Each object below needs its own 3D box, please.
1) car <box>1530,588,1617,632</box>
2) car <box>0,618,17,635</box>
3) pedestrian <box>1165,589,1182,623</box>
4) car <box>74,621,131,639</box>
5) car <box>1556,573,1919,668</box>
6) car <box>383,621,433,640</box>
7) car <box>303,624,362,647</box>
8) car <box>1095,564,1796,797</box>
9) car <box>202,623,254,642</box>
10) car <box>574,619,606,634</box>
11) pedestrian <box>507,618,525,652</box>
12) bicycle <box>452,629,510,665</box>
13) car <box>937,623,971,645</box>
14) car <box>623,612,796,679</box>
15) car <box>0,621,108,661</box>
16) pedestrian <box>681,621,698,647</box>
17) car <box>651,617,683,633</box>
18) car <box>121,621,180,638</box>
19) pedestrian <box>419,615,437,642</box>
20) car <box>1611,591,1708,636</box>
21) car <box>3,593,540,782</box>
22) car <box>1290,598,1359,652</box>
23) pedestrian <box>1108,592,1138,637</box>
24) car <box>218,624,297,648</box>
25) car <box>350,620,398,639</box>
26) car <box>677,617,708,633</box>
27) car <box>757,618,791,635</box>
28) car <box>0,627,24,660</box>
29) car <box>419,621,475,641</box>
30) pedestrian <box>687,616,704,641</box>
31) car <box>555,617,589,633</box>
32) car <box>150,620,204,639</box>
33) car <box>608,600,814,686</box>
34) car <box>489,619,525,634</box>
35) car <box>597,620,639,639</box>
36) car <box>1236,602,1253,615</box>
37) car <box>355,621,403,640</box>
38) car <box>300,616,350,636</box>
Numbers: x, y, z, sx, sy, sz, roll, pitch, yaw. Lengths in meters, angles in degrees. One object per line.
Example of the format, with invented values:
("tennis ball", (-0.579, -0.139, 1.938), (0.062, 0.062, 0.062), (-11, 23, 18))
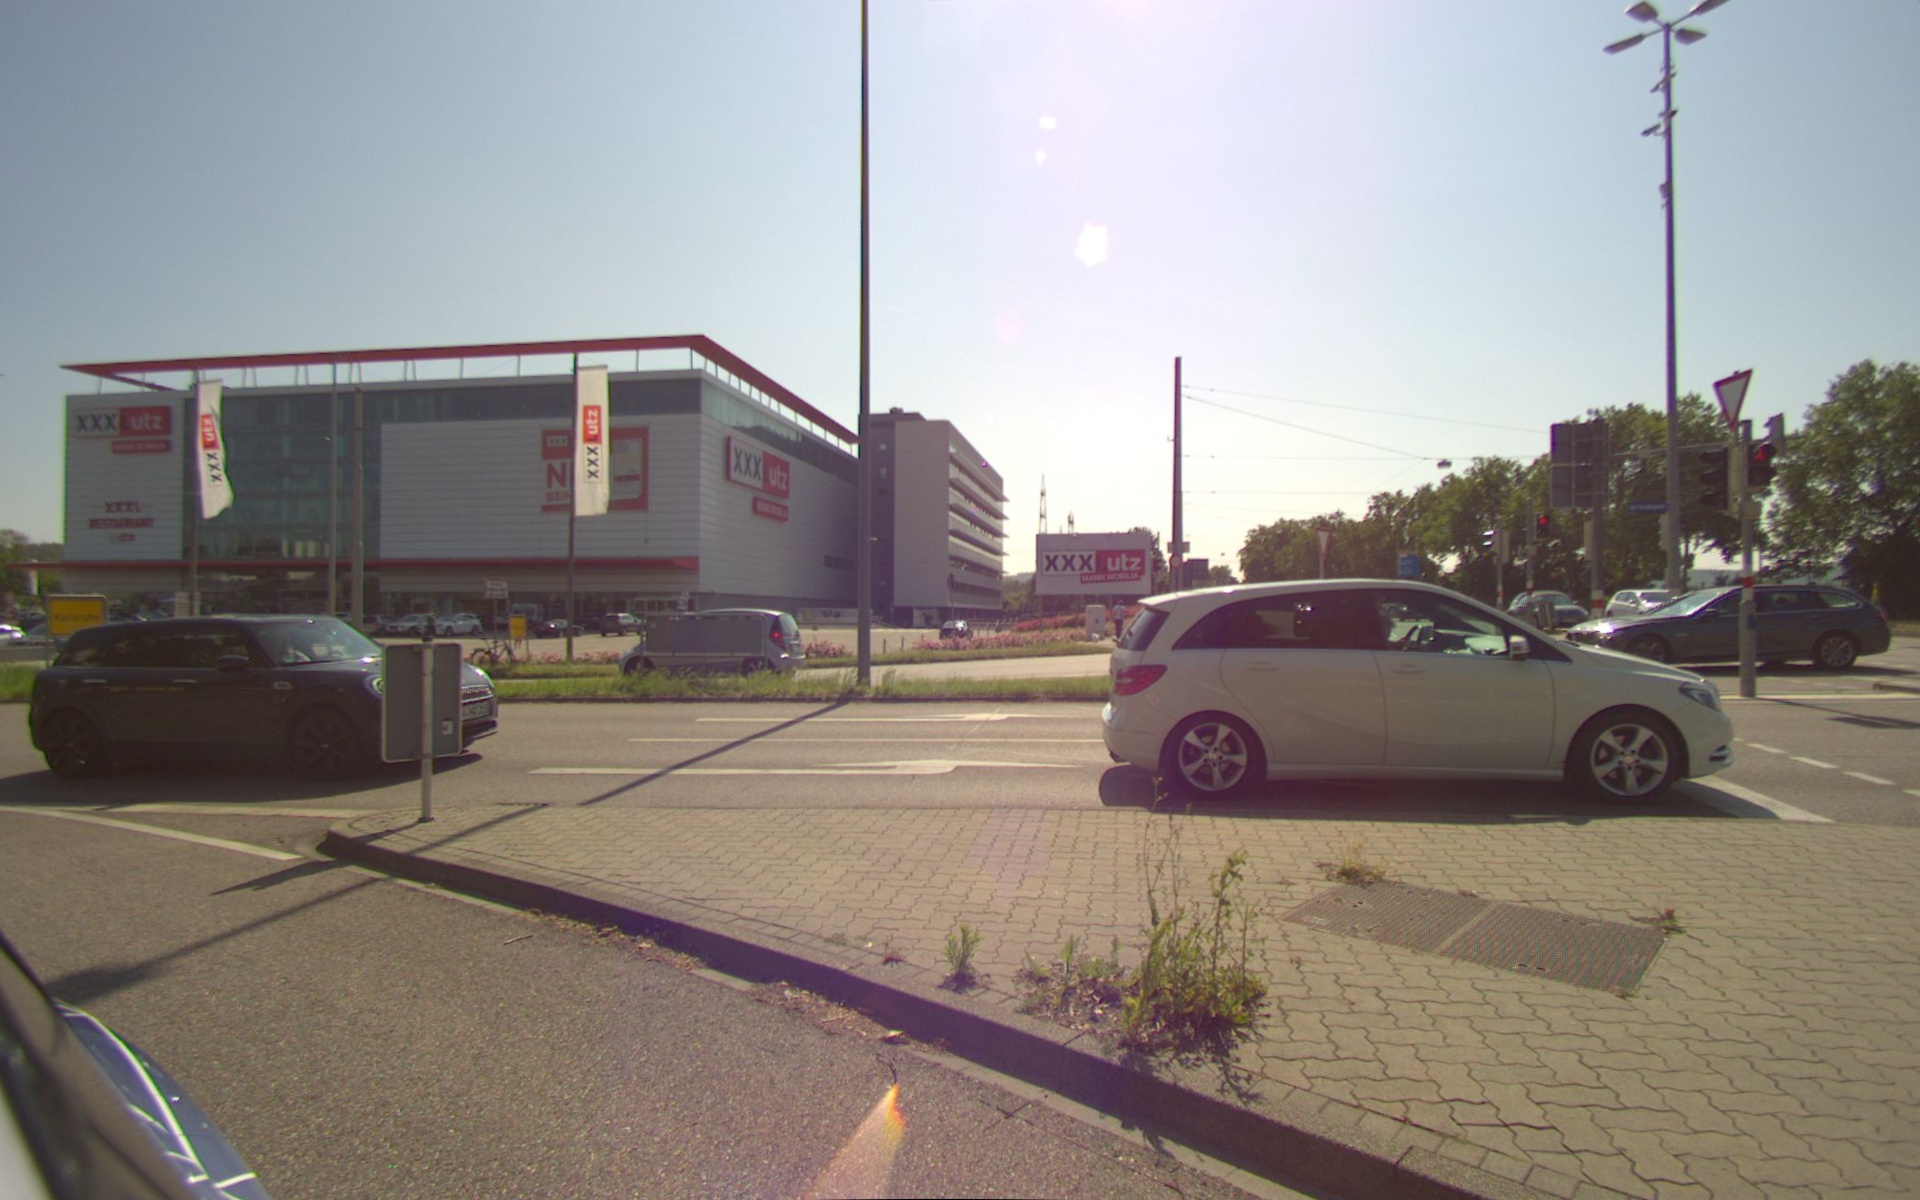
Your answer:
("car", (22.004, 0.356, 36.414), (1.393, 1.511, 3.389), (1, 0, 7))
("car", (-79.147, 2.199, 82.416), (1.498, 1.340, 3.216), (1, 0, 9))
("pedestrian", (12.577, 0.356, 59.545), (0.909, 1.987, 0.715), (1, -1, 14))
("car", (-67.759, 2.388, 80.008), (1.684, 1.340, 3.089), (1, 0, 9))
("car", (13.626, 0.376, 17.966), (4.761, 1.514, 2.059), (-1, -1, 10))
("car", (-40.626, 2.253, 74.522), (1.570, 1.340, 3.409), (-1, -1, 6))
("car", (-39.459, 2.241, 63.709), (1.498, 1.340, 3.089), (1, 0, 9))
("car", (3.219, 0.540, 7.570), (4.339, 1.459, 1.742), (-1, 0, 9))
("car", (-55.690, 2.454, 77.028), (1.498, 1.303, 3.089), (1, 0, 9))
("car", (-32.443, 2.298, 88.802), (1.351, 1.276, 3.089), (1, 0, 8))
("pedestrian", (-25.195, 1.964, 57.407), (0.498, 1.909, 0.773), (-2, -3, 40))
("bicycle", (-14.325, 1.401, 30.289), (1.624, 1.030, 0.331), (1, -2, 7))
("car", (-0.350, 2.209, 66.816), (1.709, 1.340, 3.849), (1, 0, 8))
("car", (-3.979, 0.718, 16.176), (2.466, 1.012, 1.117), (-1, -1, 12))
("car", (-45.179, 1.965, 50.099), (1.923, 1.856, 4.414), (0, -1, 9))
("pedestrian", (-21.355, 2.656, 79.935), (0.965, 2.029, 0.946), (-1, -1, 11))
("car", (-25.526, 2.141, 88.206), (1.498, 1.340, 3.089), (1, 0, 9))
("car", (-62.846, 2.286, 78.629), (1.463, 1.208, 3.501), (1, 0, 8))
("pedestrian", (-37.078, 1.968, 70.488), (0.743, 1.872, 0.853), (-1, -2, 10))
("car", (24.965, 0.479, 36.223), (1.392, 1.511, 3.348), (1, 0, 6))
("car", (-6.381, 0.754, 9.576), (4.154, 1.523, 1.738), (-1, 1, 10))
("car", (14.471, 0.964, 40.081), (1.810, 1.940, 3.958), (-2, 0, 31))
("pedestrian", (6.314, 0.571, 39.277), (0.840, 1.720, 0.895), (-2, -2, 33))
("car", (-44.778, 2.269, 64.628), (1.498, 1.340, 4.491), (1, 0, 8))
("car", (-43.414, 2.145, 75.043), (1.498, 1.340, 3.089), (1, 0, 9))
("car", (-23.116, 2.170, 87.500), (1.498, 1.340, 3.089), (1, 0, 9))
("car", (-15.743, 2.236, 85.747), (1.732, 1.340, 3.664), (1, 0, 9))
("car", (-50.110, 2.228, 50.787), (1.849, 1.640, 4.416), (0, -1, 7))
("car", (-37.911, 2.259, 74.886), (1.498, 1.340, 4.303), (1, 0, 8))
("pedestrian", (-21.134, 2.283, 80.904), (0.965, 2.029, 0.946), (-1, -2, 11))
("car", (-34.389, 2.185, 89.738), (1.498, 1.340, 3.089), (1, 0, 9))
("car", (-60.204, 2.254, 77.871), (1.498, 1.340, 3.089), (1, 0, 9))
("car", (-5.173, 0.891, 21.246), (3.870, 1.637, 1.629), (-2, -1, 7))
("car", (-39.971, 2.349, 89.399), (1.498, 1.234, 3.089), (1, 0, 9))
("car", (-25.631, 2.165, 75.989), (1.759, 1.340, 3.089), (1, 0, 9))
("car", (37.915, 1.116, 135.146), (1.613, 1.637, 3.777), (-1, -1, 7))
("car", (-43.156, 2.275, 75.226), (1.498, 1.340, 3.089), (1, 0, 9))
("car", (-52.129, 2.125, 83.157), (1.642, 1.642, 3.567), (-1, -1, 5))
